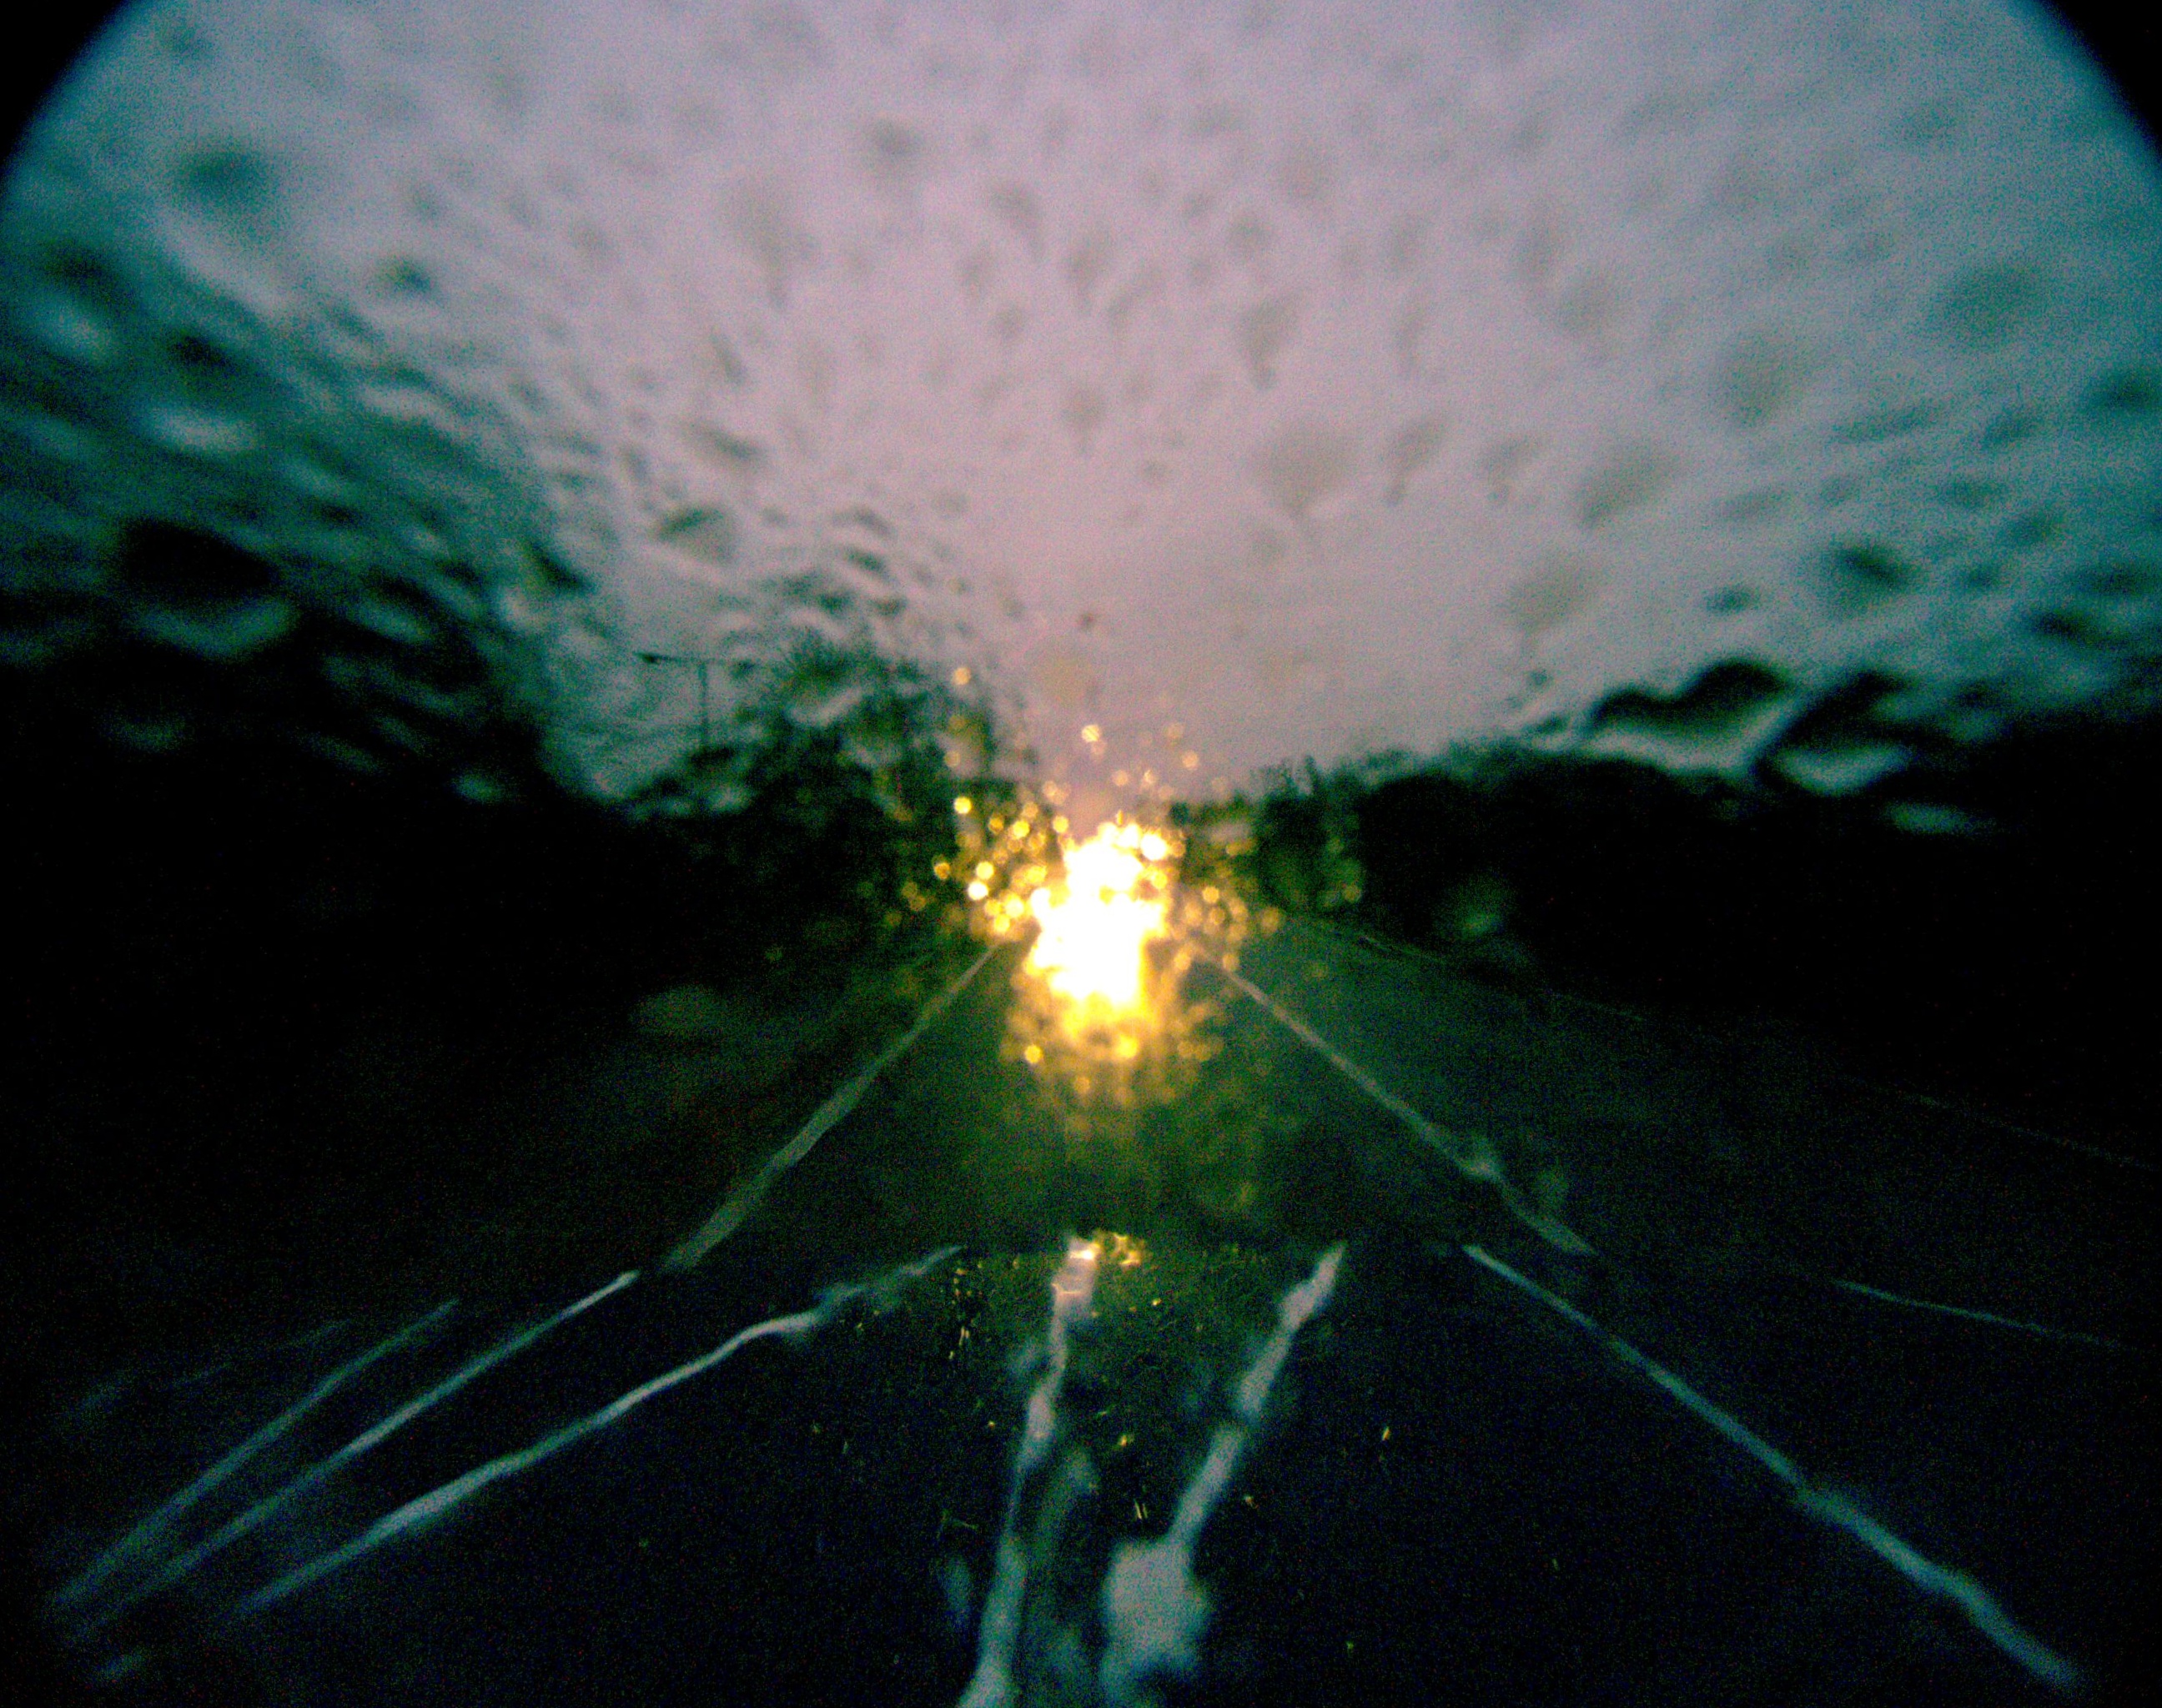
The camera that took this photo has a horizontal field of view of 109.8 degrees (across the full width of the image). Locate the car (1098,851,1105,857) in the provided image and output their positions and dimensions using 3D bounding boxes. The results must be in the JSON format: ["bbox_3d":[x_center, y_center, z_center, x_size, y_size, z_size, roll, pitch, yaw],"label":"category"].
[{"bbox_3d":[6.424,0.019,238.311,1.771,1.589,3.999,1,0,0],"label":"car"}]

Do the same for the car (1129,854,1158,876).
[{"bbox_3d":[4.232,0.728,52.260,1.636,1.449,3.982,1,0,0],"label":"car"}]

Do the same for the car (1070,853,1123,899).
[{"bbox_3d":[0.579,0.804,29.562,1.860,1.604,4.000,-1,0,0],"label":"car"}]
